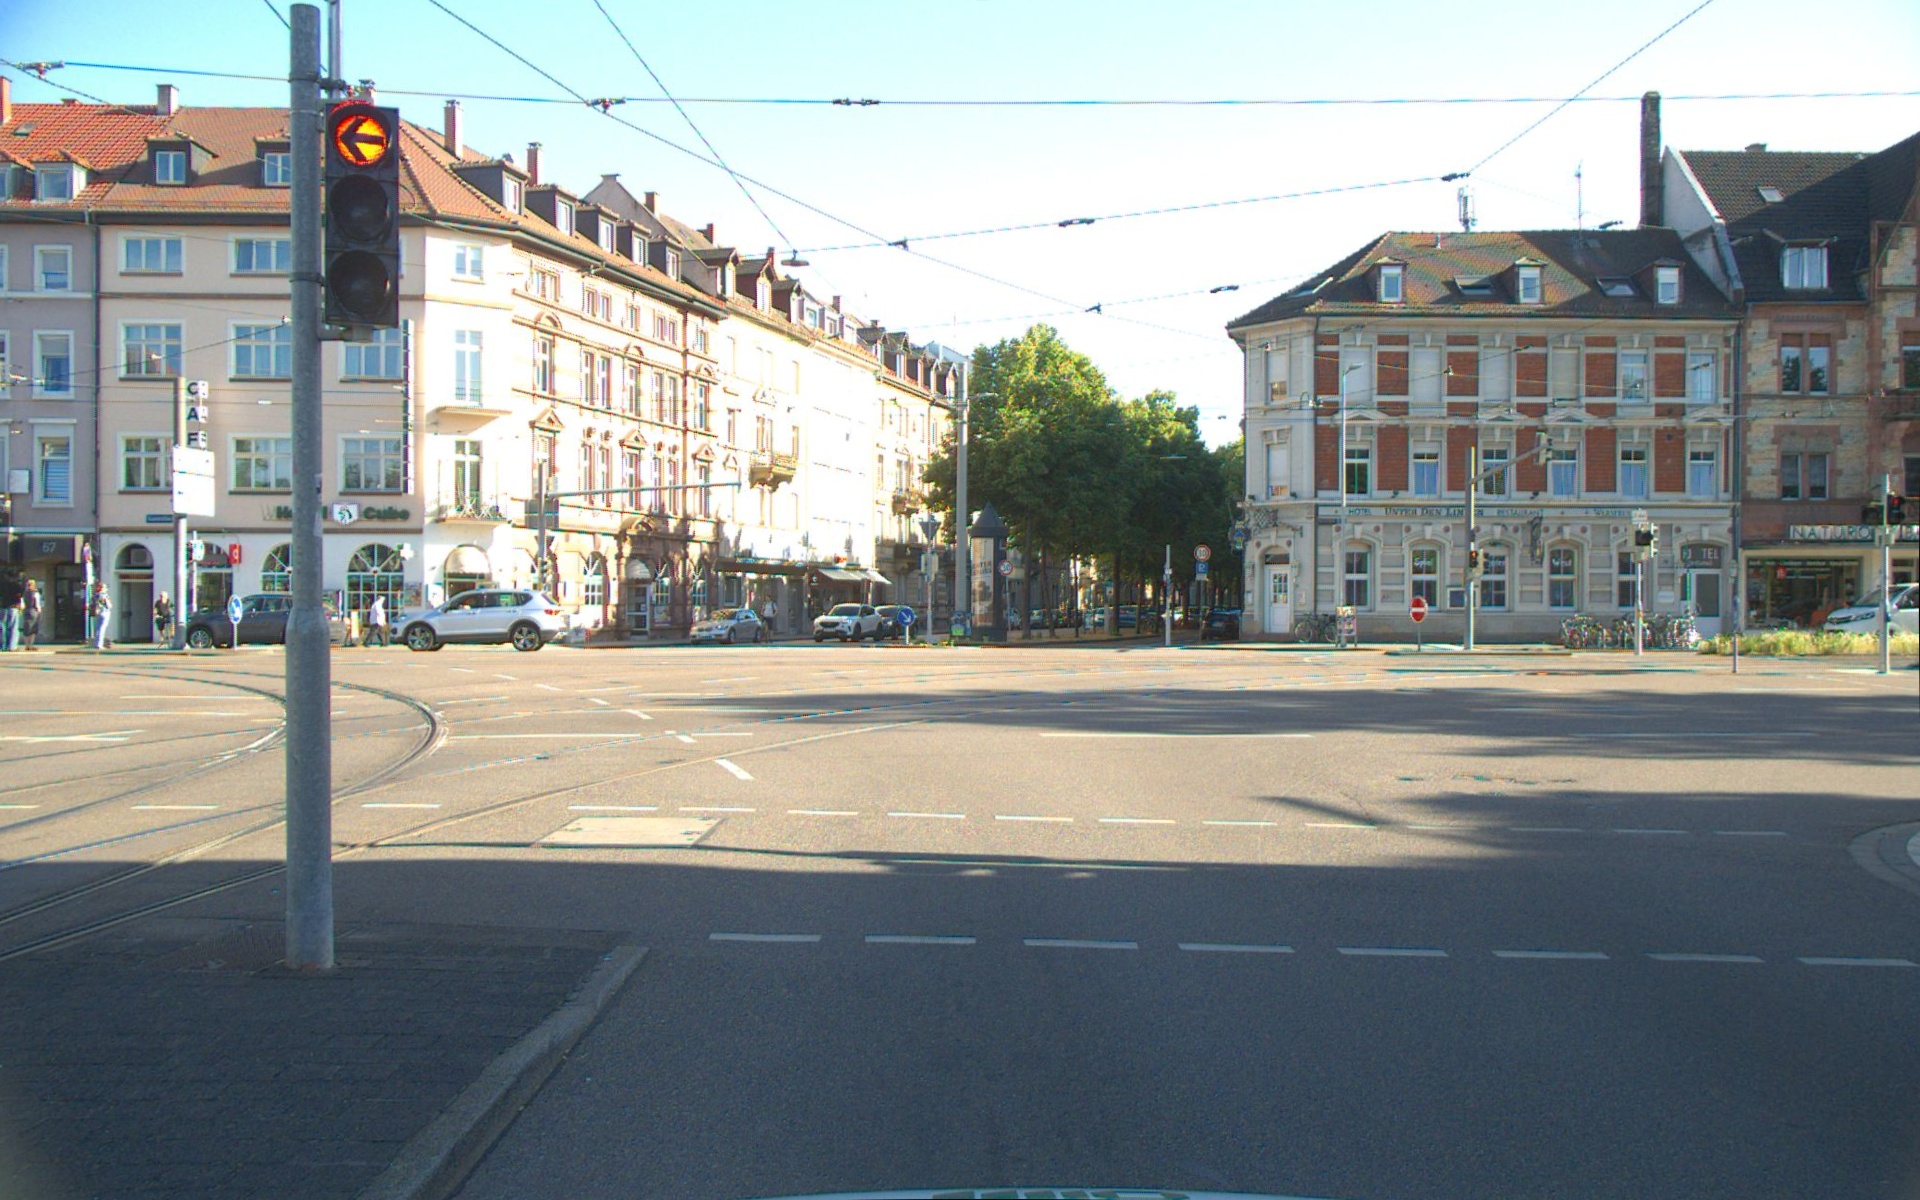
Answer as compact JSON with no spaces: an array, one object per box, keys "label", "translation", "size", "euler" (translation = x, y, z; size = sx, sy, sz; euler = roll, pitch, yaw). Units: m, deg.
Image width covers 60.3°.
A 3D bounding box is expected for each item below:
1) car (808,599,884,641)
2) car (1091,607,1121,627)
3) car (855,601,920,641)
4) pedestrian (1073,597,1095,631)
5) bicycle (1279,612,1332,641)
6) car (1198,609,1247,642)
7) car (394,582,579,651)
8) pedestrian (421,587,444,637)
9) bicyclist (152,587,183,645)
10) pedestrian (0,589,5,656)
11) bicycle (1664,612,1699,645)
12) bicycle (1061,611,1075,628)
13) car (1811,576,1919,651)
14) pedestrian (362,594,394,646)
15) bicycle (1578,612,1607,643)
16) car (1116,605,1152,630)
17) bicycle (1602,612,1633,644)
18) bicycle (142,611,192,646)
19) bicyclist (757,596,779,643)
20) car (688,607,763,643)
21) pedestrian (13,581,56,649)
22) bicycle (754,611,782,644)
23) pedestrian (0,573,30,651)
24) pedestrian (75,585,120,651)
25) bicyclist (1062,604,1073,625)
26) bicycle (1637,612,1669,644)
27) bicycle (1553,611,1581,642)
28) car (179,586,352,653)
[{"label":"car","translation":[-4.586,0.810,67.180],"size":[1.764,1.613,4.162],"euler":[1,0,16]},{"label":"car","translation":[11.701,1.358,132.177],"size":[1.764,1.603,3.893],"euler":[1,0,15]},{"label":"car","translation":[-3.190,0.936,73.545],"size":[1.786,1.715,3.877],"euler":[1,0,16]},{"label":"pedestrian","translation":[7.595,0.870,101.122],"size":[0.952,2.049,0.908],"euler":[1,-1,-32]},{"label":"bicycle","translation":[11.979,0.910,57.281],"size":[1.764,0.979,0.604],"euler":[1,0,14]},{"label":"car","translation":[13.134,1.281,82.671],"size":[1.719,1.583,4.001],"euler":[1,0,20]},{"label":"car","translation":[-12.844,0.449,45.094],"size":[4.586,1.764,1.833],"euler":[1,0,-8]},{"label":"pedestrian","translation":[-18.027,0.417,56.523],"size":[0.577,1.705,0.497],"euler":[1,-1,33]},{"label":"bicyclist","translation":[-24.866,0.497,51.913],"size":[0.608,1.822,0.615],"euler":[1,-1,4]},{"label":"pedestrian","translation":[-24.324,0.561,41.250],"size":[0.561,1.677,0.727],"euler":[1,-1,-1]},{"label":"bicycle","translation":[23.318,0.910,53.478],"size":[0.775,1.033,2.211],"euler":[1,0,17]},{"label":"bicycle","translation":[8.143,1.462,125.003],"size":[0.659,1.228,1.822],"euler":[1,0,17]},{"label":"car","translation":[25.060,0.348,42.780],"size":[5.093,1.886,2.000],"euler":[0,0,-1]},{"label":"pedestrian","translation":[-18.950,0.655,53.879],"size":[0.556,1.671,0.792],"euler":[1,-1,22]},{"label":"bicycle","translation":[20.561,0.877,53.791],"size":[0.749,0.985,2.211],"euler":[1,0,17]},{"label":"car","translation":[12.325,1.235,116.773],"size":[1.951,1.713,4.003],"euler":[1,0,15]},{"label":"bicycle","translation":[21.340,0.890,53.698],"size":[0.749,1.001,2.211],"euler":[1,0,17]},{"label":"bicycle","translation":[-24.875,0.888,51.887],"size":[0.608,1.048,1.755],"euler":[1,0,4]},{"label":"bicyclist","translation":[-7.546,0.771,65.010],"size":[0.553,1.835,0.915],"euler":[1,-1,14]},{"label":"car","translation":[-9.448,0.990,66.937],"size":[1.624,1.398,3.894],"euler":[1,0,14]},{"label":"pedestrian","translation":[-22.945,0.371,41.023],"size":[0.571,1.677,0.840],"euler":[1,-1,-1]},{"label":"bicycle","translation":[-7.544,1.057,65.000],"size":[0.553,1.276,1.558],"euler":[1,0,14]},{"label":"pedestrian","translation":[-22.931,0.285,39.956],"size":[0.516,1.854,0.676],"euler":[1,-1,-1]},{"label":"pedestrian","translation":[-21.376,0.447,41.007],"size":[0.655,1.622,0.815],"euler":[1,-1,-1]},{"label":"bicyclist","translation":[8.158,1.076,125.039],"size":[0.659,1.595,0.748],"euler":[1,-1,17]},{"label":"bicycle","translation":[22.460,0.897,53.630],"size":[0.749,1.025,2.221],"euler":[1,0,17]},{"label":"bicycle","translation":[19.807,0.864,54.028],"size":[0.749,0.979,2.211],"euler":[1,0,17]},{"label":"car","translation":[-19.824,0.551,47.332],"size":[4.142,1.805,1.818],"euler":[1,0,-2]}]
